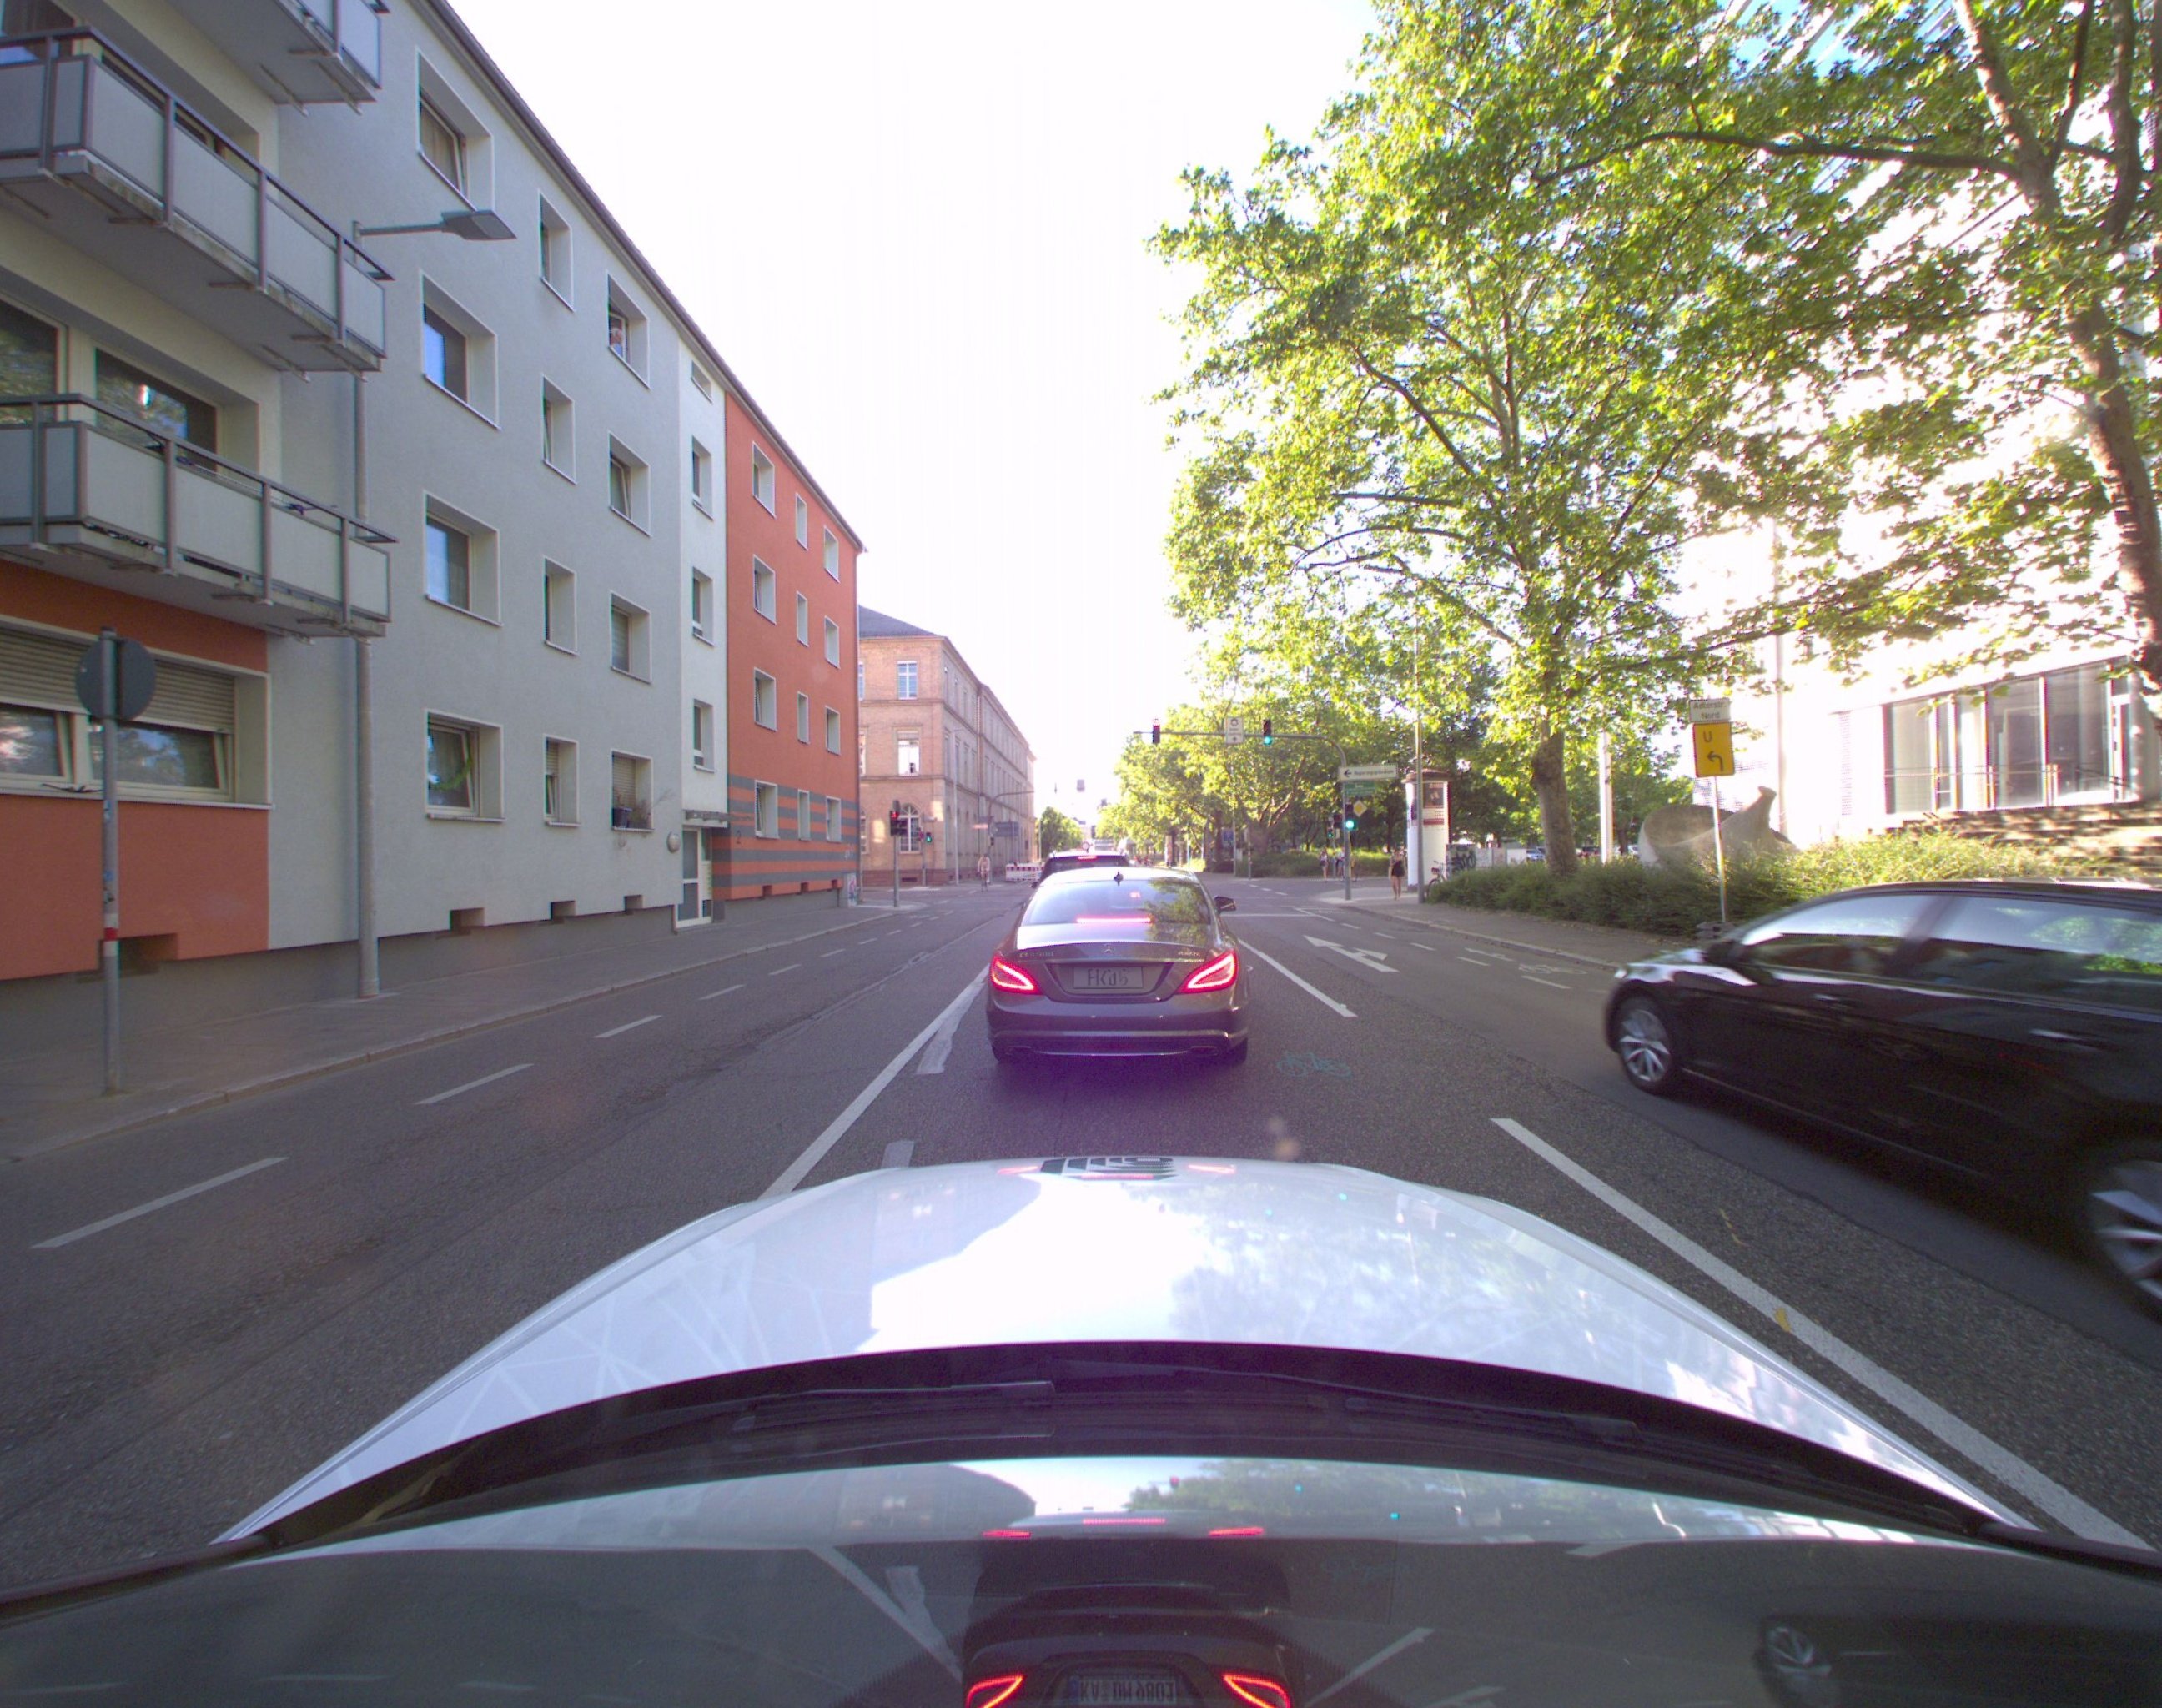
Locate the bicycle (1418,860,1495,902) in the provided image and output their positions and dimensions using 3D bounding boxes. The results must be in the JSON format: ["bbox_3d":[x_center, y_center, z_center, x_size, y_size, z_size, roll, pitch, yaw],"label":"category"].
[{"bbox_3d":[10.808,0.766,23.490,1.969,1.190,0.528,0,-1,0],"label":"bicycle"}]

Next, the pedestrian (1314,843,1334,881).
[{"bbox_3d":[11.976,0.387,40.112,0.728,1.808,0.910,-2,-2,5],"label":"pedestrian"}]

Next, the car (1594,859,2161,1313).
[{"bbox_3d":[4.355,0.756,3.783,1.682,1.440,3.905,1,0,3],"label":"car"}]

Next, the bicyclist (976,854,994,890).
[{"bbox_3d":[-4.250,0.780,36.081,0.646,1.558,0.807,0,-1,1],"label":"bicyclist"}]

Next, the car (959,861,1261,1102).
[{"bbox_3d":[0.457,0.787,7.203,1.833,1.429,4.527,-1,0,8],"label":"car"}]

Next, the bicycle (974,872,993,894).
[{"bbox_3d":[-4.277,1.265,35.921,0.546,0.891,1.868,0,-1,2],"label":"bicycle"}]

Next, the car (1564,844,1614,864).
[{"bbox_3d":[39.750,0.037,63.811,1.624,1.483,3.796,0,-1,1],"label":"car"}]

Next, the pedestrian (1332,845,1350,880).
[{"bbox_3d":[12.802,0.417,40.063,0.679,1.697,0.973,-1,-1,9],"label":"pedestrian"}]

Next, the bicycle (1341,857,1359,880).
[{"bbox_3d":[13.209,0.700,39.988,0.521,1.100,1.745,-1,-1,8],"label":"bicycle"}]

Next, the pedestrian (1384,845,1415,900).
[{"bbox_3d":[9.788,0.552,25.060,0.791,1.630,0.912,-3,-2,19],"label":"pedestrian"}]

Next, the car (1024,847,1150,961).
[{"bbox_3d":[0.207,0.740,13.850,1.801,1.612,4.003,-1,-1,3],"label":"car"}]
